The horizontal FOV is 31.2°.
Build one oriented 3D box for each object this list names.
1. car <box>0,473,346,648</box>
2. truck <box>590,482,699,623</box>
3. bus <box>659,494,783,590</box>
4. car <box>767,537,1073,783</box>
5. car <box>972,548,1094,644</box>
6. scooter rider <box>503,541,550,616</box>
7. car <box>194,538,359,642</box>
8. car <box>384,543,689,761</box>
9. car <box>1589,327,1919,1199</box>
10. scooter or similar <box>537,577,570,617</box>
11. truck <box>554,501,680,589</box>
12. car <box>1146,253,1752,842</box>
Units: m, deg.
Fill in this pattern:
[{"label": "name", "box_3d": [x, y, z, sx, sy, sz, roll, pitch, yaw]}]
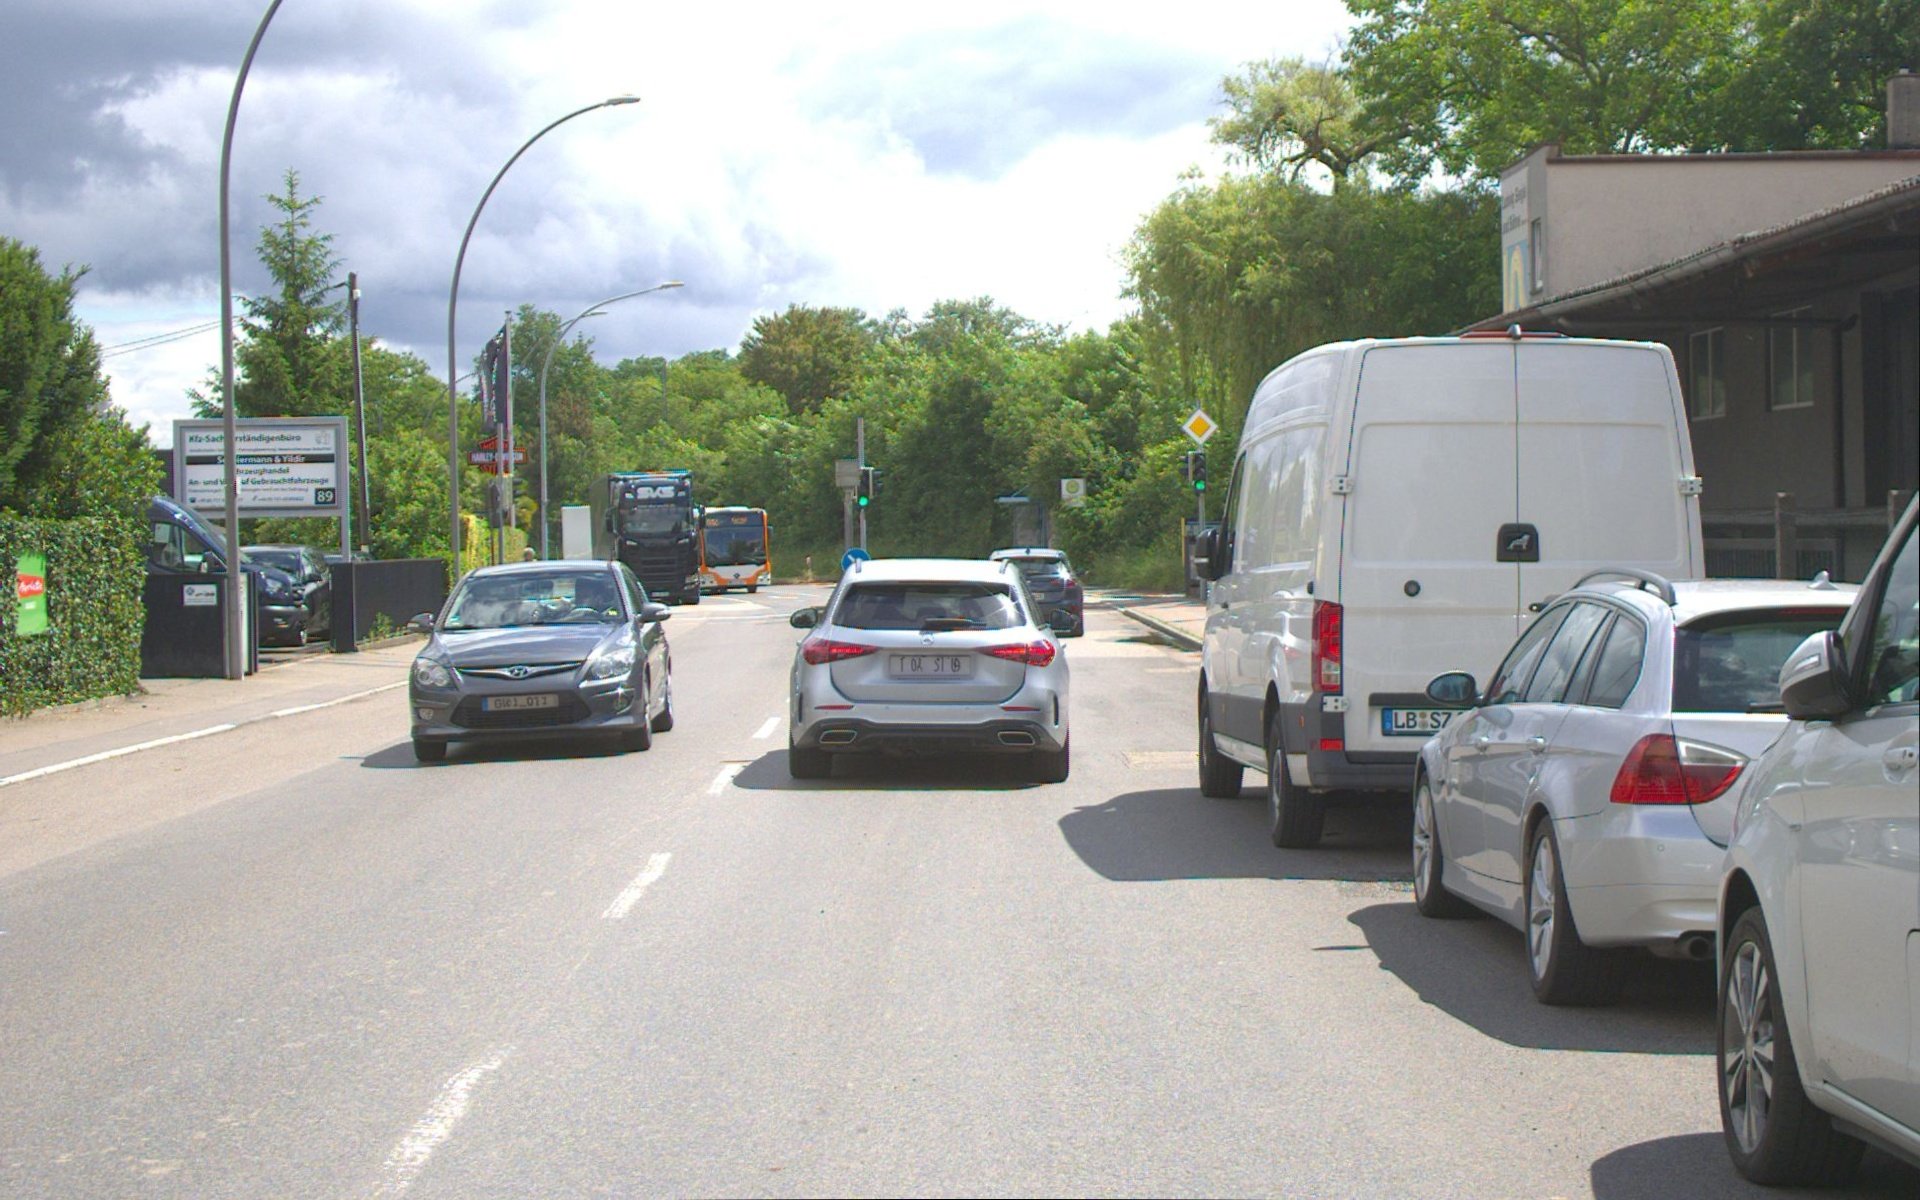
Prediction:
[{"label": "car", "box_3d": [-12.638, -0.596, 52.425, 6.037, 2.488, 2.477, -1, 1, 0]}, {"label": "truck", "box_3d": [-9.808, -1.448, 106.170, 2.428, 4.117, 9.153, 1, 0, -11]}, {"label": "bus", "box_3d": [-8.846, -2.071, 125.968, 2.777, 3.255, 12.127, -2, 1, -12]}, {"label": "car", "box_3d": [-0.255, 0.342, 23.297, 1.884, 1.503, 4.000, -1, 1, 0]}, {"label": "car", "box_3d": [1.175, -0.099, 56.968, 1.884, 1.503, 4.000, -1, 1, -1]}, {"label": "scooter rider", "box_3d": [-9.280, -0.468, 73.550, 0.878, 1.584, 0.796, -1, 1, 0]}, {"label": "car", "box_3d": [-11.162, -0.192, 56.394, 2.031, 1.589, 4.285, -1, 1, -3]}, {"label": "car", "box_3d": [-3.220, 0.339, 26.916, 1.900, 1.512, 4.319, -2, 1, -1]}, {"label": "car", "box_3d": [2.726, 0.441, 6.539, 1.905, 1.879, 5.390, 1, 1, -2]}, {"label": "scooter or similar", "box_3d": [-8.644, -0.070, 73.160, 0.611, 0.829, 0.659, 1, 1, 0]}, {"label": "truck", "box_3d": [-14.538, -2.283, 144.947, 2.839, 3.528, 9.727, -2, 1, -20]}, {"label": "car", "box_3d": [2.463, -0.298, 19.364, 2.215, 2.680, 6.658, -2, 1, -2]}]
